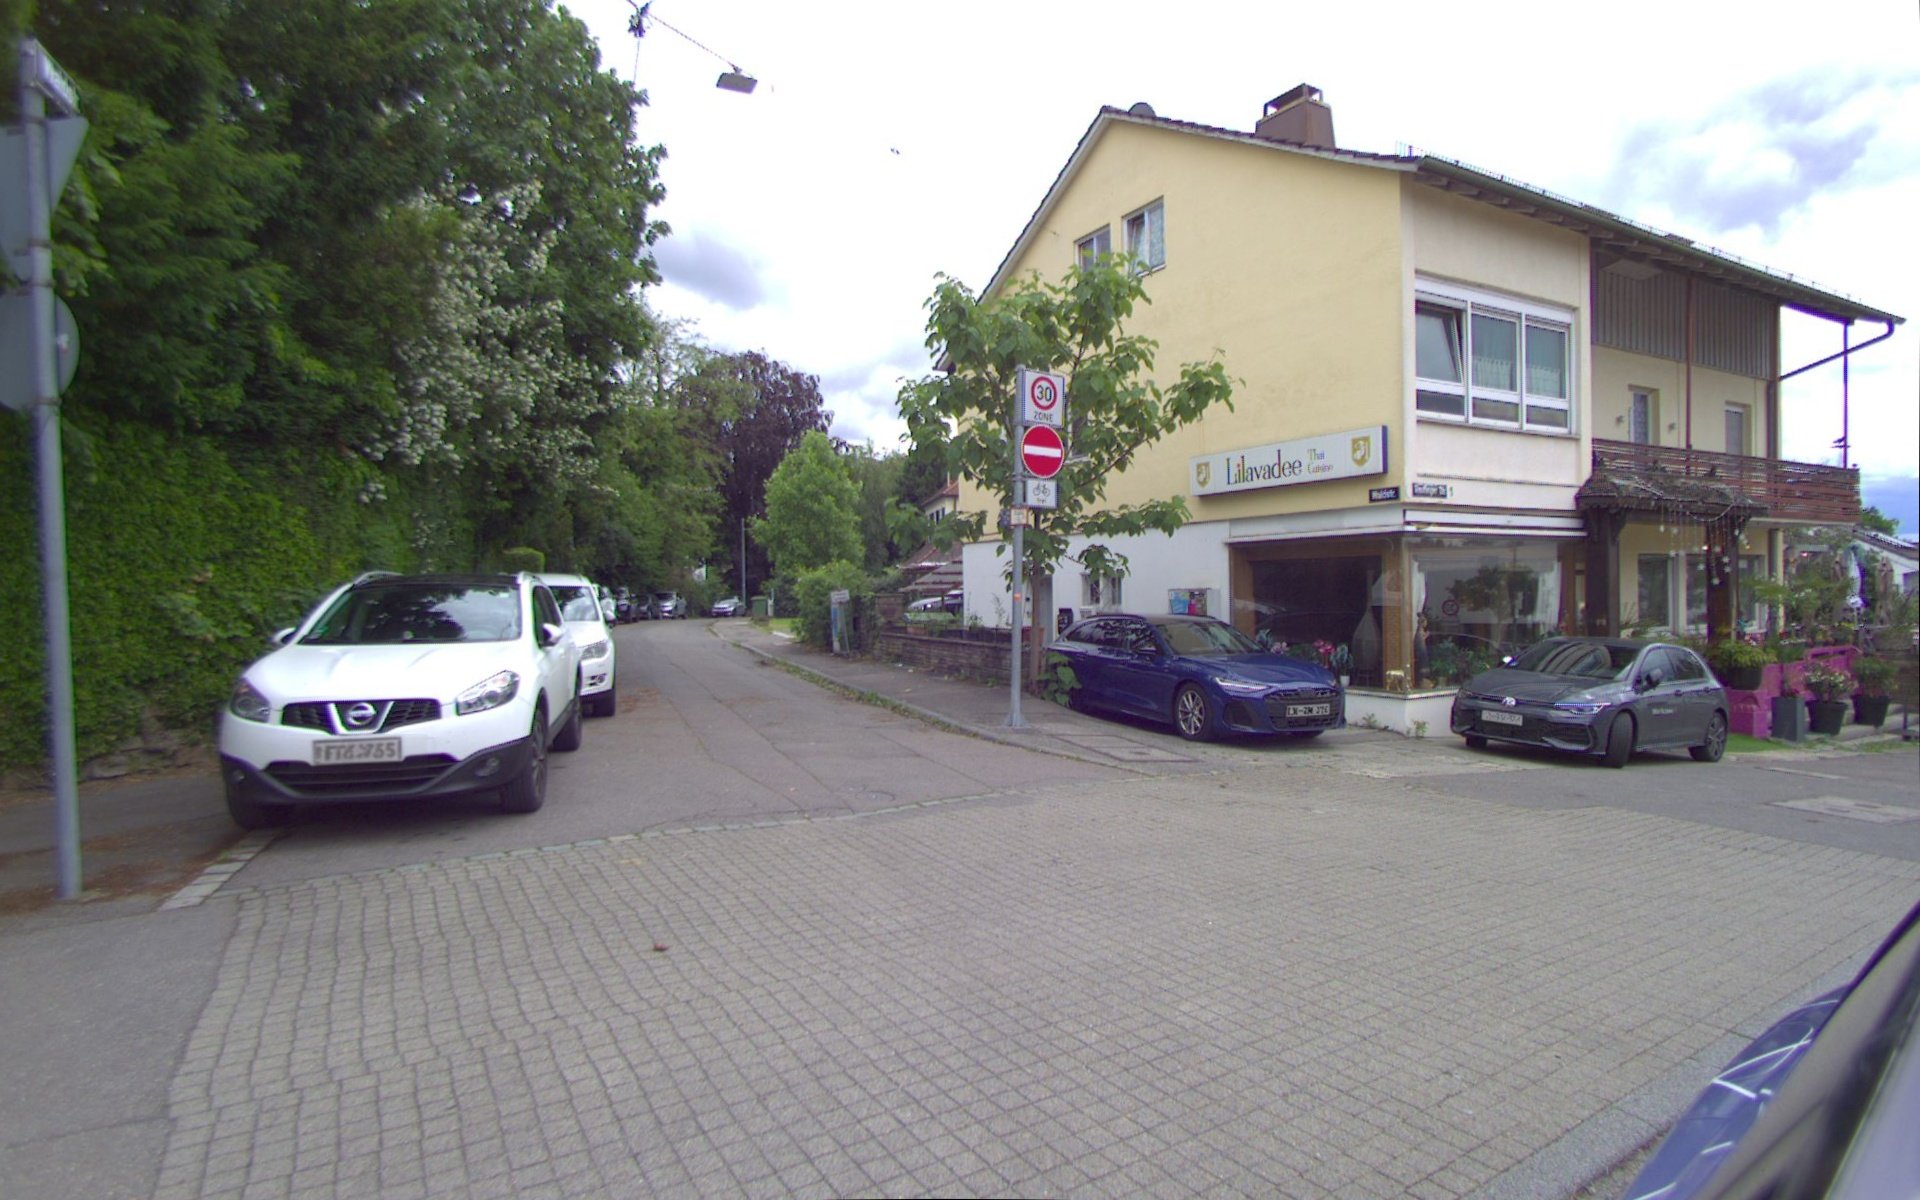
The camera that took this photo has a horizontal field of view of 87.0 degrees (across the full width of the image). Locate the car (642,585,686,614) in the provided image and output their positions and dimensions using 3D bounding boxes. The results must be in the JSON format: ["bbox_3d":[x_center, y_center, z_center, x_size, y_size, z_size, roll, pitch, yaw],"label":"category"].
[{"bbox_3d":[-16.264,-0.035,55.797,1.543,1.502,3.476,0,1,-3],"label":"car"}]

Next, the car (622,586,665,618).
[{"bbox_3d":[-15.940,0.080,51.115,1.542,1.502,3.479,-1,1,-8],"label":"car"}]

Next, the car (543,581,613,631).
[{"bbox_3d":[-12.237,0.142,32.595,1.542,1.502,3.745,-1,1,-11],"label":"car"}]

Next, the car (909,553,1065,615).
[{"bbox_3d":[0.807,-0.447,30.298,4.235,1.480,1.802,4,-2,-19],"label":"car"}]

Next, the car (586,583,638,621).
[{"bbox_3d":[-14.228,0.049,41.529,1.542,1.502,3.481,-1,1,-11],"label":"car"}]

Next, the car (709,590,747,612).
[{"bbox_3d":[-16.375,0.036,71.460,1.547,1.502,3.468,0,1,7],"label":"car"}]

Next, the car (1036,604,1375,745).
[{"bbox_3d":[2.899,0.830,13.217,1.761,1.405,4.758,2,0,-23],"label":"car"}]

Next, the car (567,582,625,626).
[{"bbox_3d":[-13.444,0.108,37.549,1.542,1.502,3.481,-1,1,-11],"label":"car"}]

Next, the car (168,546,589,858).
[{"bbox_3d":[-3.881,0.509,7.560,1.761,1.643,4.144,-1,1,-16],"label":"car"}]

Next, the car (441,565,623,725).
[{"bbox_3d":[-5.192,0.435,12.614,1.761,1.643,4.080,-1,1,-20],"label":"car"}]

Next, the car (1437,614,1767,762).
[{"bbox_3d":[7.927,1.067,12.379,4.242,1.480,1.800,5,-2,-34],"label":"car"}]

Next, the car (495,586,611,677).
[{"bbox_3d":[-7.394,0.481,18.626,1.761,1.441,4.080,-1,1,-20],"label":"car"}]
